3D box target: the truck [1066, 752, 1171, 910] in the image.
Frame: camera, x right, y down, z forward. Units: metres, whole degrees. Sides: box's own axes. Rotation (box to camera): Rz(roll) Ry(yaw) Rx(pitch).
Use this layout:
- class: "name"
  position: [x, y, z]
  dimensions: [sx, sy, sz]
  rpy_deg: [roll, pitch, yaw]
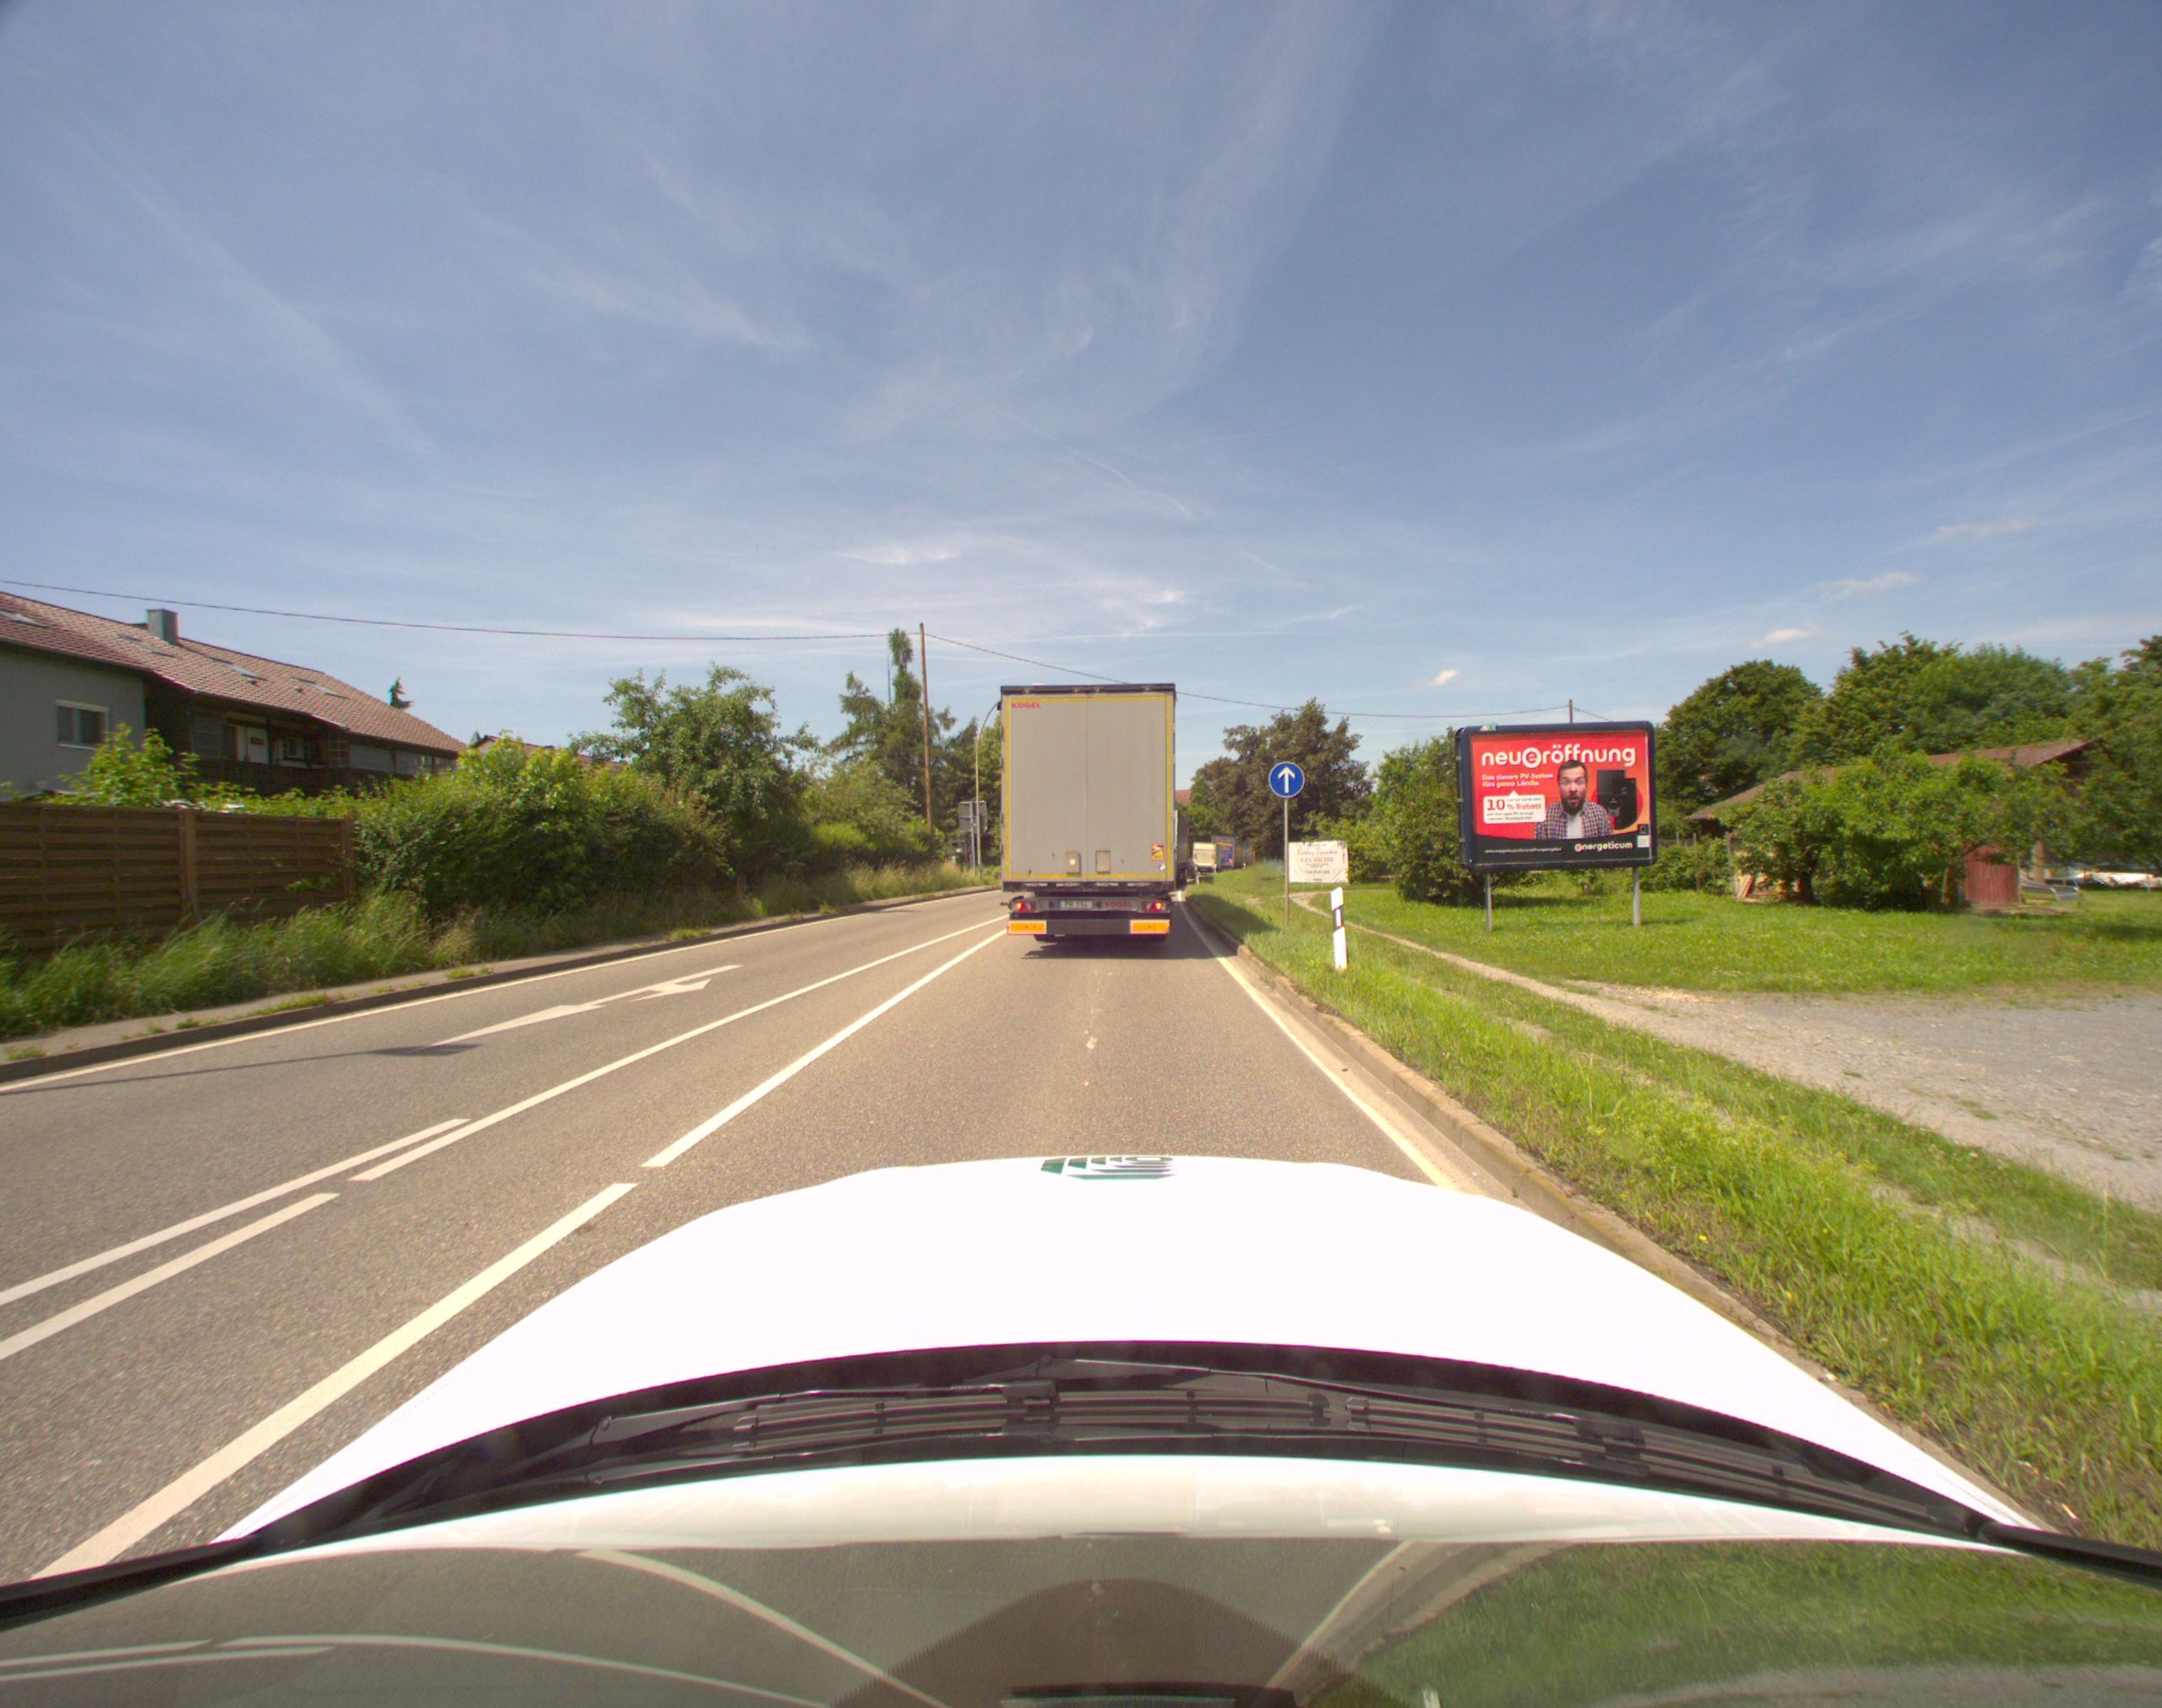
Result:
- class: "truck"
  position: [1.261, -0.623, 24.684]
  dimensions: [2.733, 4.165, 6.152]
  rpy_deg: [-1, 0, 5]

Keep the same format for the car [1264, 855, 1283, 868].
- class: "car"
  position: [27.925, 1.059, 118.126]
  dimensions: [1.975, 1.684, 4.023]
  rpy_deg: [-1, 0, 25]

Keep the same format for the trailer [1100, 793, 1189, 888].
- class: "trailer"
  position: [3.862, -0.671, 45.341]
  dimensions: [3.868, 4.521, 12.746]
  rpy_deg: [-1, 0, 9]

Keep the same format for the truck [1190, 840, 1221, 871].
- class: "truck"
  position: [11.959, 0.131, 77.906]
  dimensions: [2.403, 2.838, 5.432]
  rpy_deg: [-1, 0, 13]

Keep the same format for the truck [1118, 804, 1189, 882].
- class: "truck"
  position: [4.761, -0.618, 52.177]
  dimensions: [3.913, 4.575, 7.170]
  rpy_deg: [-1, 0, 9]

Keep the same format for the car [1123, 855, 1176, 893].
- class: "car"
  position: [3.067, 0.832, 35.735]
  dimensions: [1.982, 1.530, 4.010]
  rpy_deg: [-1, 0, 9]

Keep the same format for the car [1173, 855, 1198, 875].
- class: "car"
  position: [8.424, 0.888, 65.439]
  dimensions: [1.831, 1.486, 4.010]
  rpy_deg: [-1, 0, 8]

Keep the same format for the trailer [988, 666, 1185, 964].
- class: "trailer"
  position: [0.589, -0.584, 17.643]
  dimensions: [2.774, 4.205, 12.128]
  rpy_deg: [-1, 0, 5]

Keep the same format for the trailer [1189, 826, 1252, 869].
- class: "trailer"
  position: [16.655, -0.737, 95.497]
  dimensions: [5.139, 4.628, 15.967]
  rpy_deg: [-1, 0, 17]
